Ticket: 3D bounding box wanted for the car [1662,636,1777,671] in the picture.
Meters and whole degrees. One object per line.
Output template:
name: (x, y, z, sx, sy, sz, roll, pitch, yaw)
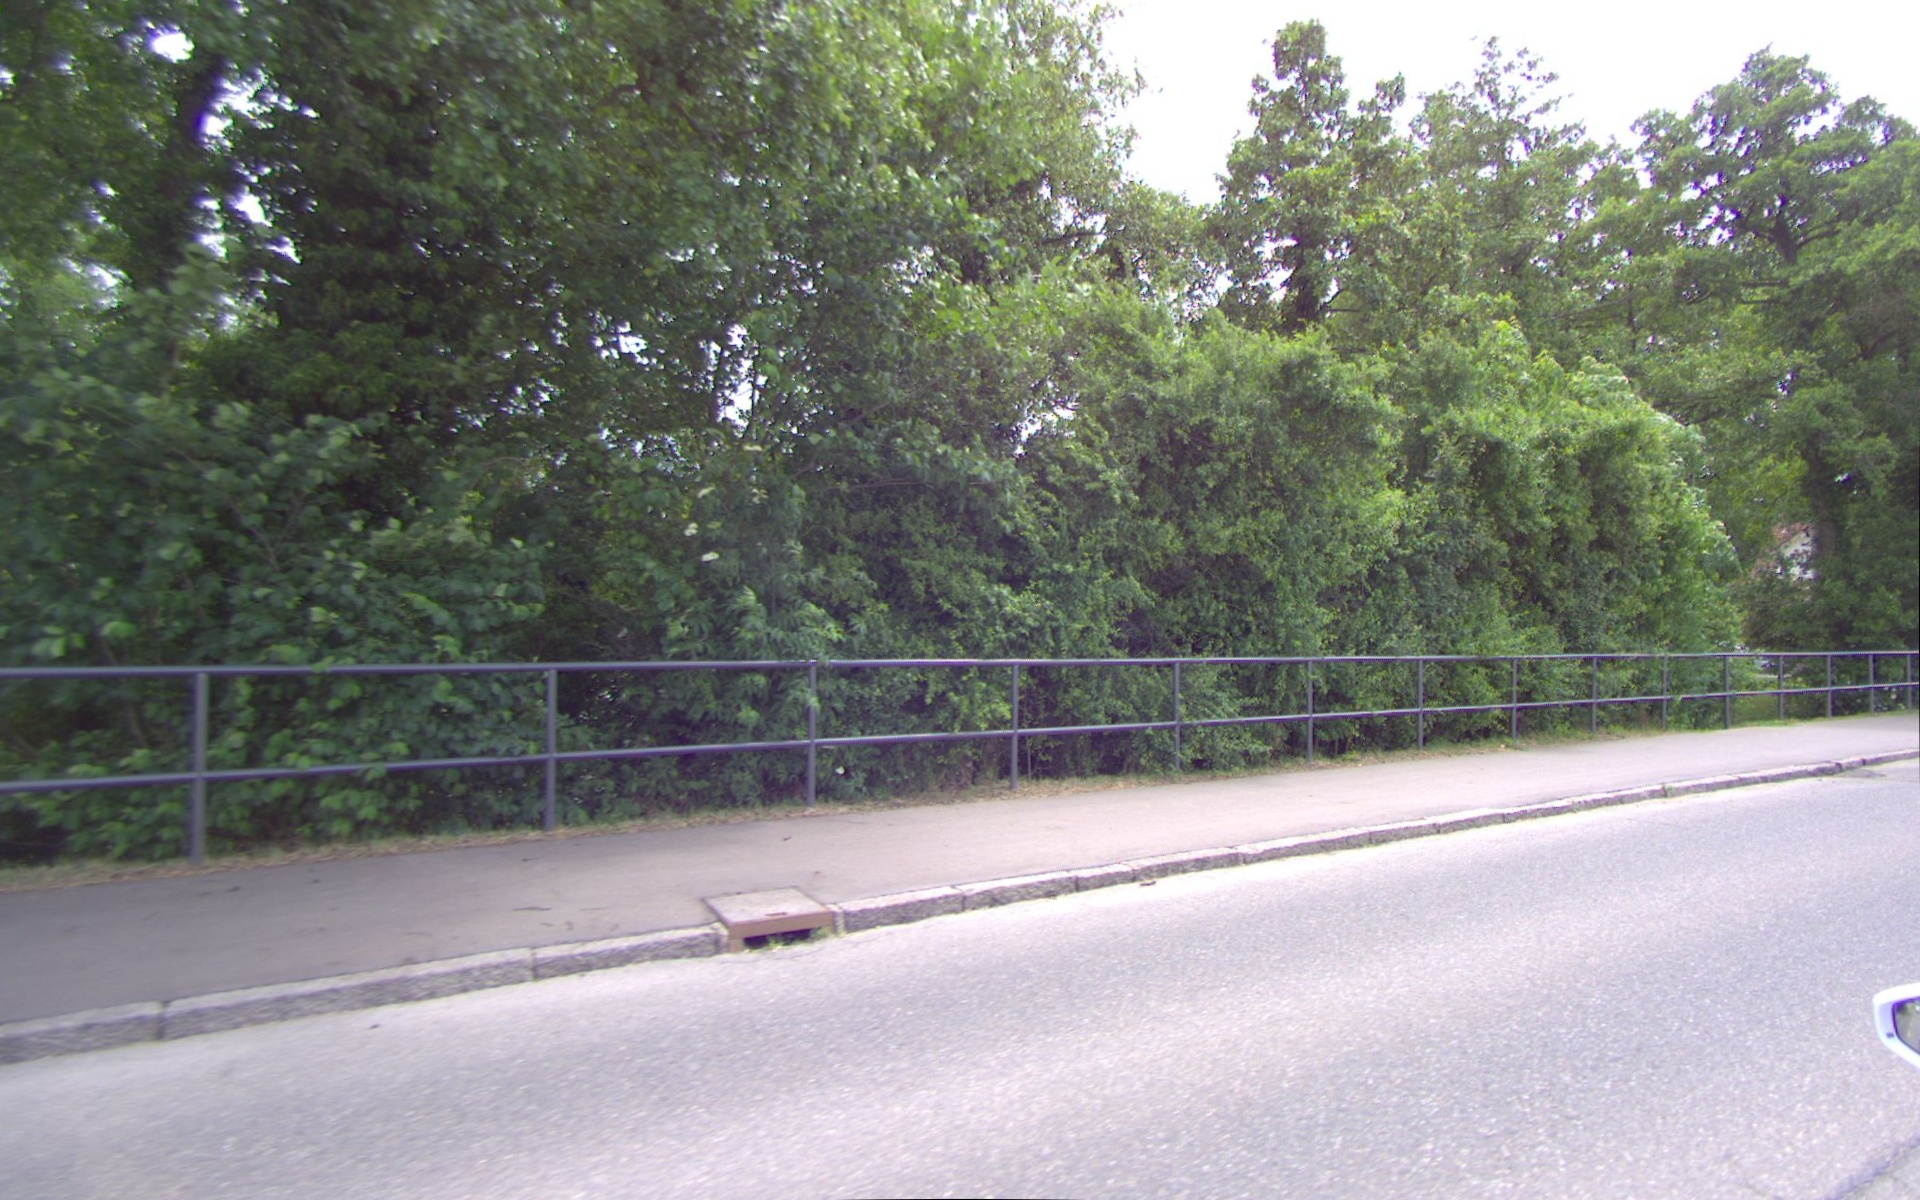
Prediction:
car: (35.763, 2.485, 47.404, 1.819, 1.537, 3.970, 1, -2, -29)
